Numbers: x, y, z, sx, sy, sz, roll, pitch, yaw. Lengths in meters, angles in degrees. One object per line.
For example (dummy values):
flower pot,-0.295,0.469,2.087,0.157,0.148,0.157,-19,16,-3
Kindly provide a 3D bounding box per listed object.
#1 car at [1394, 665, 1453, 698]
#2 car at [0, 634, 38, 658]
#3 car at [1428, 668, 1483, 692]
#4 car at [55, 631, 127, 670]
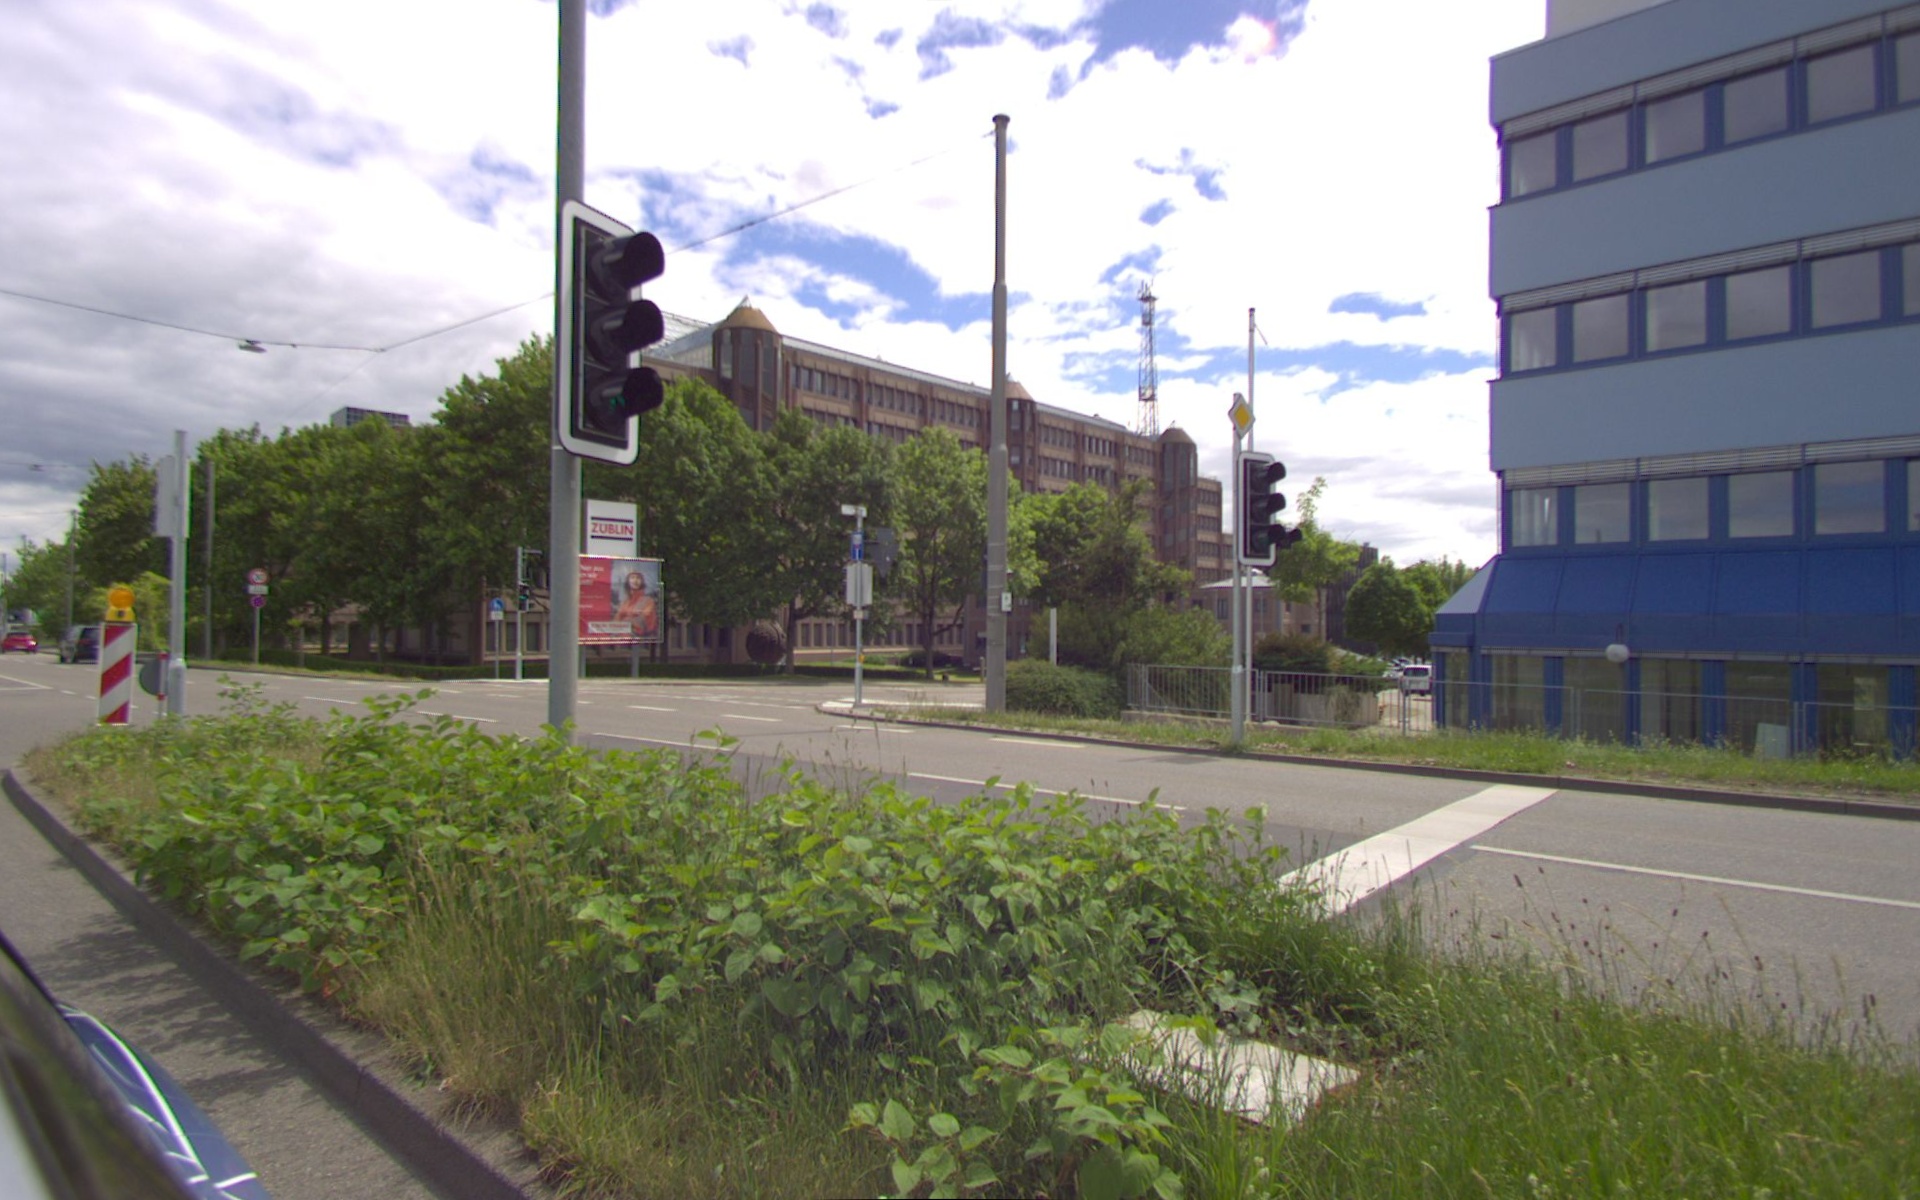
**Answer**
car,25.782,4.541,56.243,2.000,1.706,3.602,-2,-5,43
car,-58.343,2.832,62.324,3.997,1.426,1.762,-1,-3,40
car,29.752,4.801,60.765,2.000,1.340,3.602,-2,-5,43
car,-40.040,2.267,46.611,4.760,1.715,1.972,-2,-2,43
